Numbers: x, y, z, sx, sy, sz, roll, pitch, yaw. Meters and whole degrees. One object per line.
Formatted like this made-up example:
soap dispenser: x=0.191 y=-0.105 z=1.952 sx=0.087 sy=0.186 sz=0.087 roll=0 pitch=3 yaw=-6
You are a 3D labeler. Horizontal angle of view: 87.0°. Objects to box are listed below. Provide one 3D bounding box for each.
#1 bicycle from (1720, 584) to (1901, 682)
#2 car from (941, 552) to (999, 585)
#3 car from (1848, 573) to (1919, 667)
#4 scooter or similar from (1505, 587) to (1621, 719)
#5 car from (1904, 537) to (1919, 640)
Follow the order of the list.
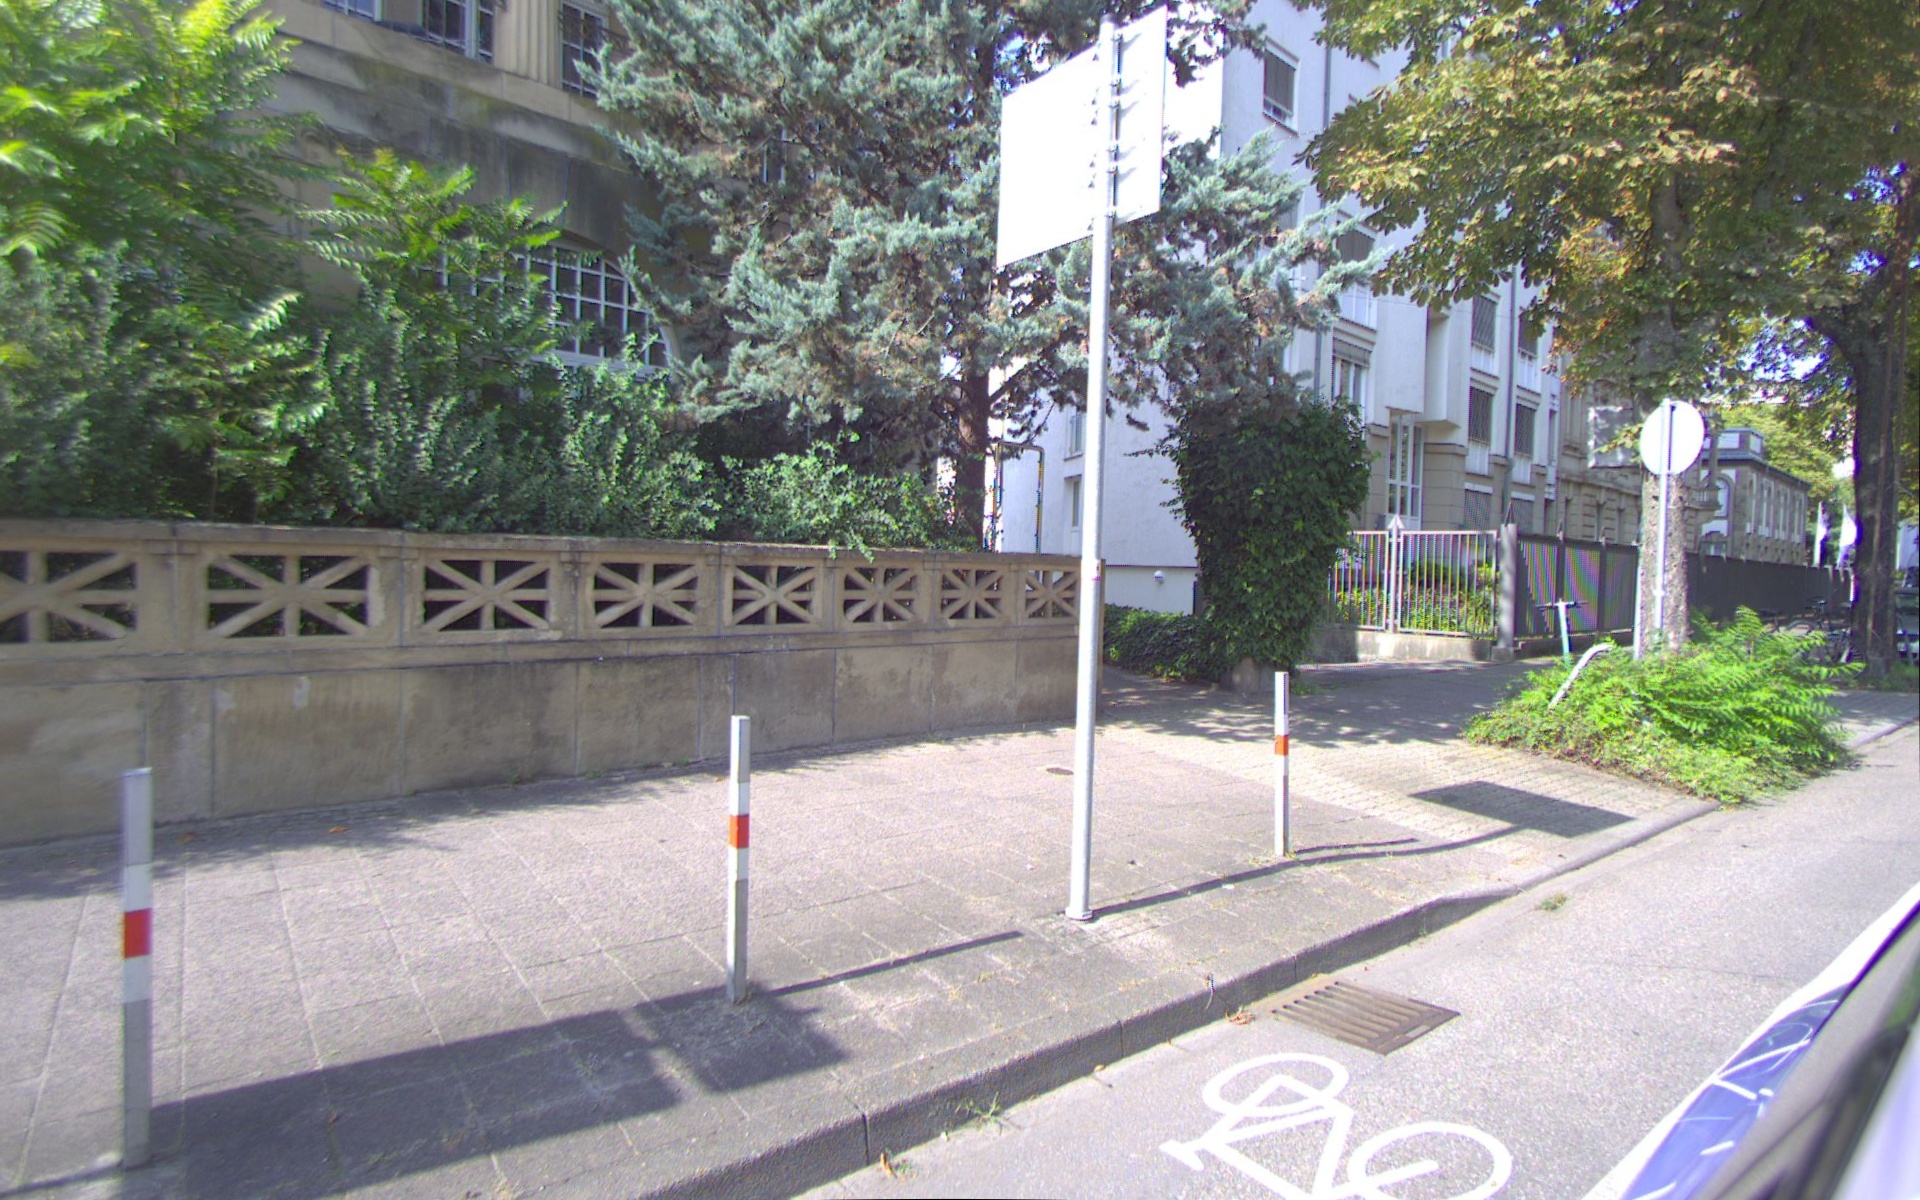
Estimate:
bicycle: x=11.906 y=0.444 z=14.219 sx=1.812 sy=1.179 sz=0.504 roll=4 pitch=8 yaw=9
car: x=0.448 y=-1.634 z=51.340 sx=1.797 sy=1.585 sz=4.010 roll=1 pitch=2 yaw=-17
car: x=17.951 y=0.353 z=18.779 sx=4.282 sy=1.541 sz=1.610 roll=-1 pitch=6 yaw=-42
scooter or similar: x=6.064 y=0.504 z=10.170 sx=1.015 sy=1.211 sz=0.560 roll=0 pitch=5 yaw=-36
car: x=26.546 y=-0.257 z=26.478 sx=6.122 sy=2.529 sz=2.050 roll=0 pitch=3 yaw=-42
